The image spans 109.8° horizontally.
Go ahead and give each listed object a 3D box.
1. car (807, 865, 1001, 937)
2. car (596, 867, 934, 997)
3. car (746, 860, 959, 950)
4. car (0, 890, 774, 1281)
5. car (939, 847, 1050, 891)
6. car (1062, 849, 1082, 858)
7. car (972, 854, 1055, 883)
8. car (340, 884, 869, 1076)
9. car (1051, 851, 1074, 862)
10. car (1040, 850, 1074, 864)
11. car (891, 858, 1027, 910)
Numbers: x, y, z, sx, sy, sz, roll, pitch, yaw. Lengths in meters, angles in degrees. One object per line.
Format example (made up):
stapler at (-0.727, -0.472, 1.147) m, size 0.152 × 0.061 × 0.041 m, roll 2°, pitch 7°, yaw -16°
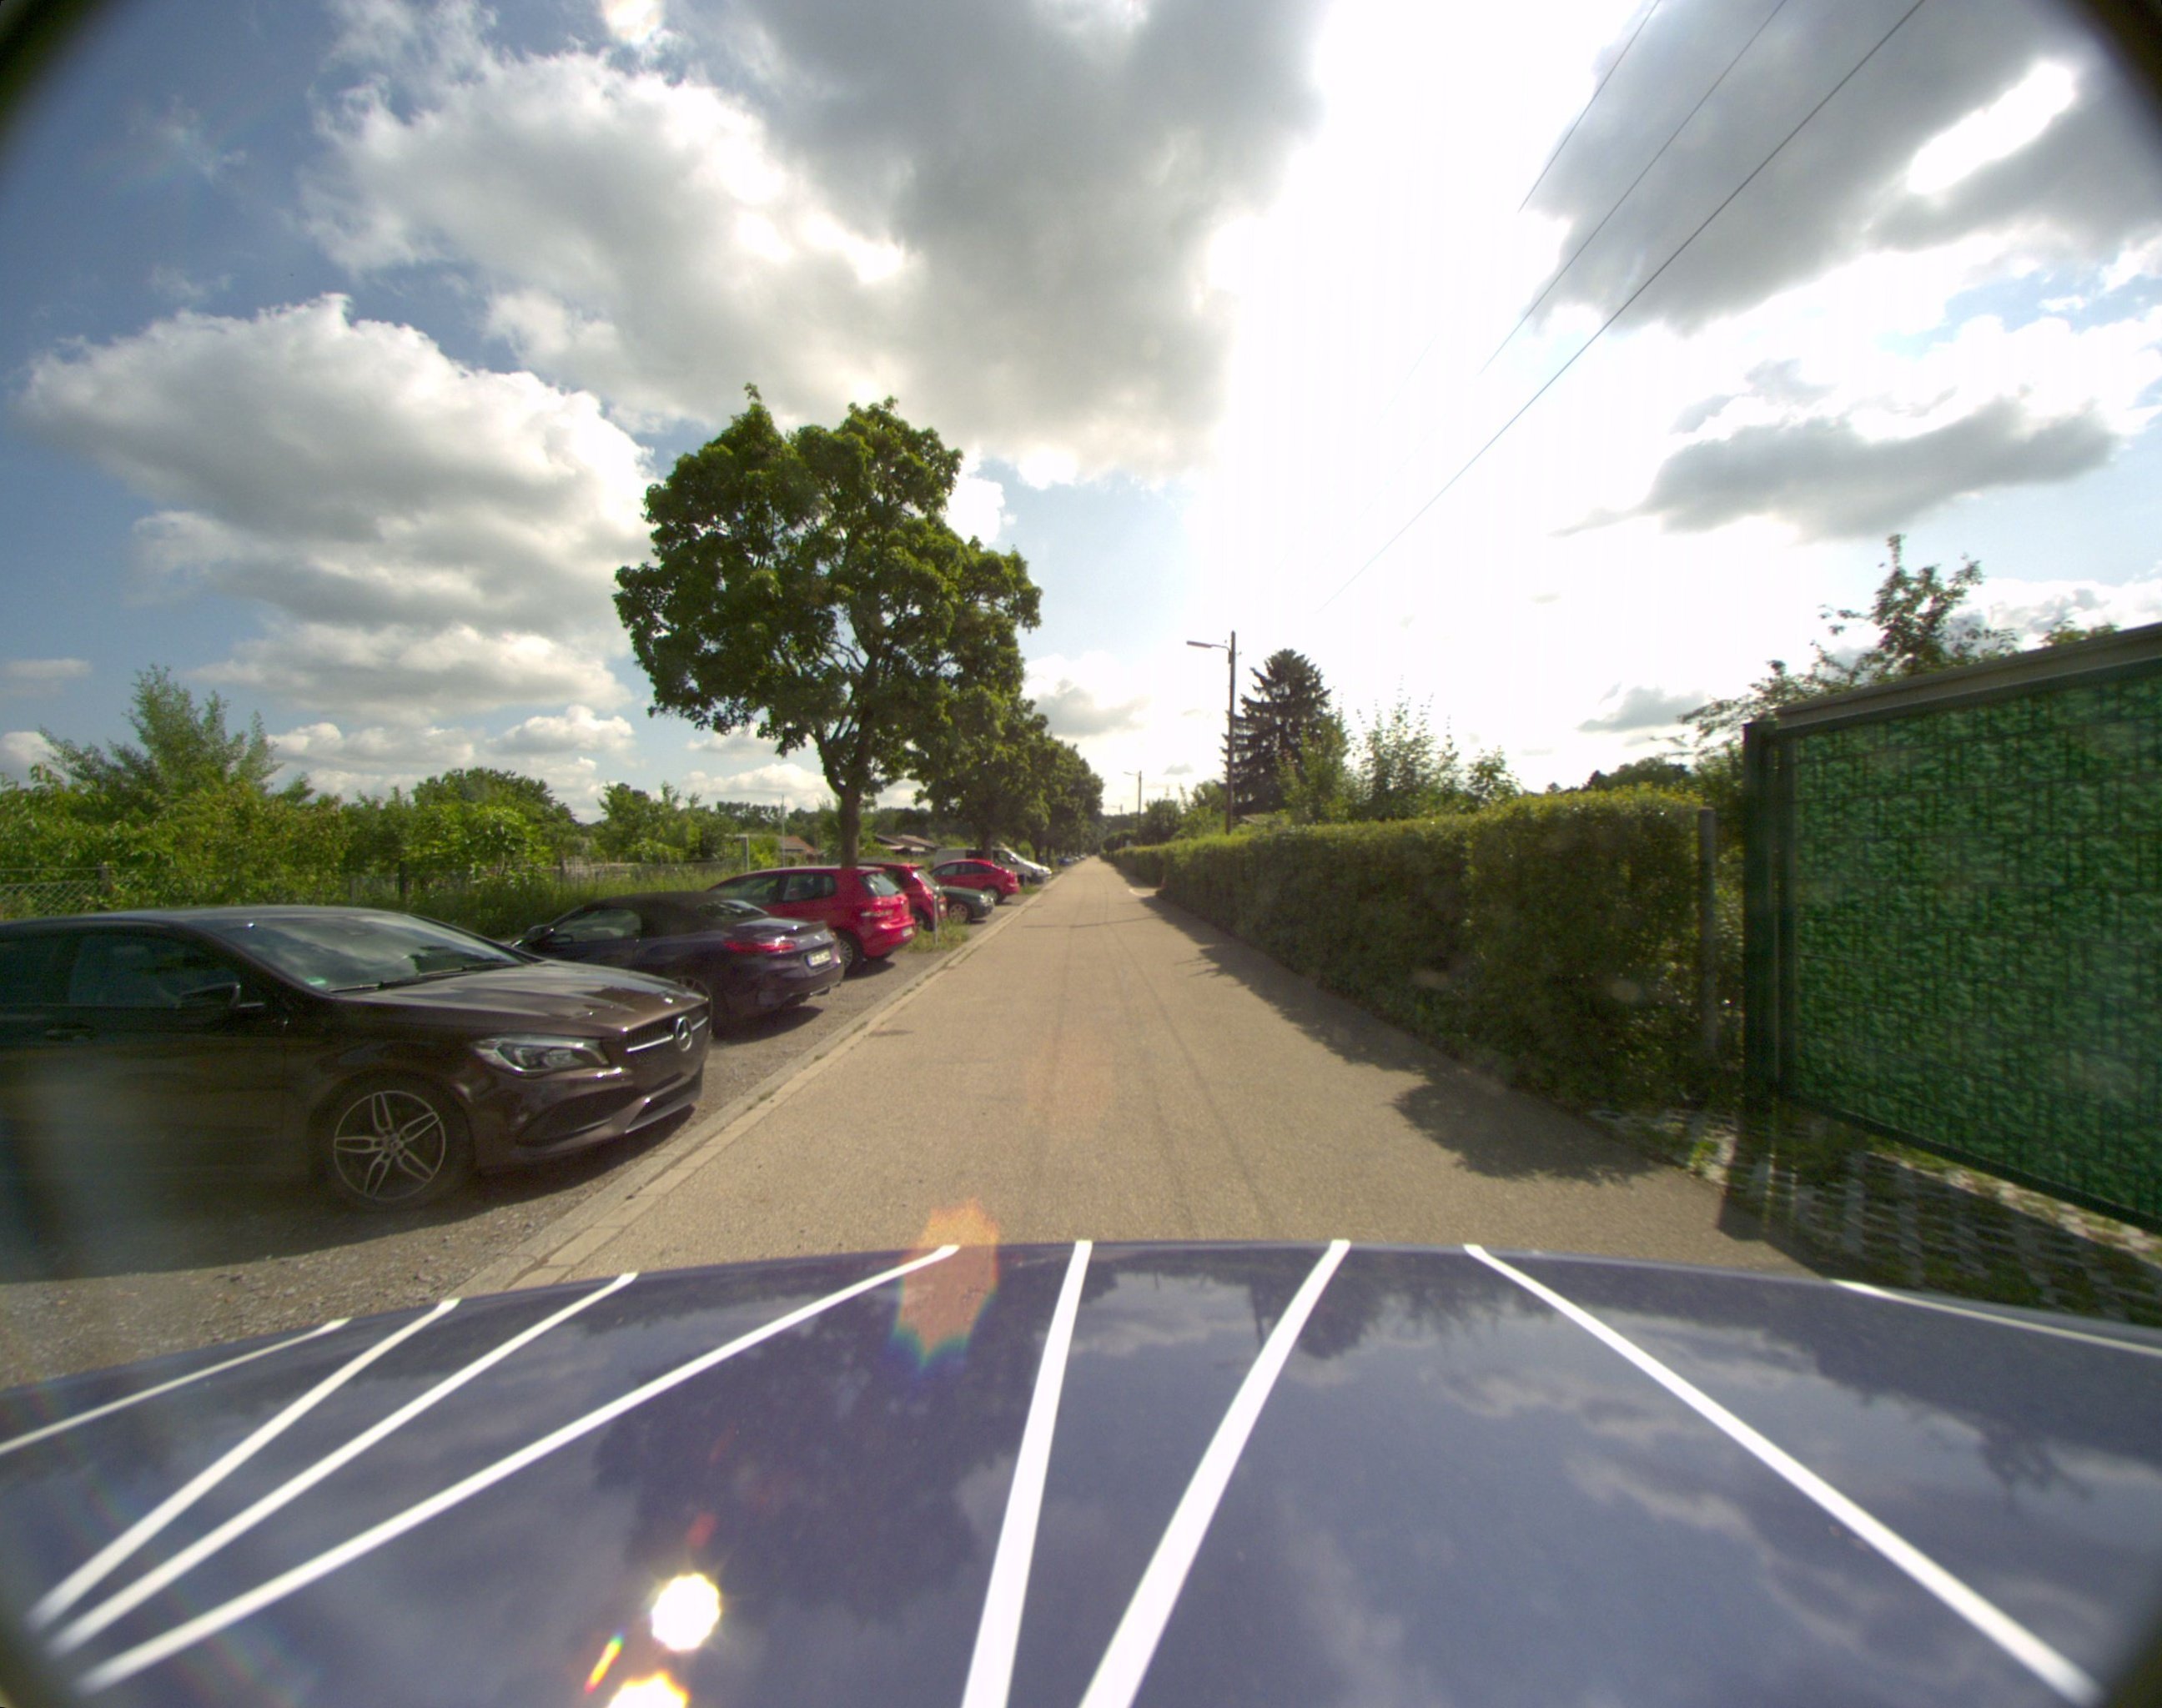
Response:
car at (-4.184, 1.106, 18.531) m, size 4.250 × 1.420 × 1.907 m, roll -3°, pitch 1°, yaw -3°
car at (-4.350, 1.049, 10.881) m, size 3.995 × 1.511 × 1.855 m, roll -2°, pitch 1°, yaw 5°
car at (-4.627, 1.016, 15.813) m, size 3.773 × 1.565 × 1.869 m, roll -2°, pitch 1°, yaw 1°
car at (-4.144, 1.068, 4.177) m, size 4.076 × 1.447 × 1.869 m, roll -3°, pitch 1°, yaw -1°
car at (-3.707, 0.622, 33.389) m, size 4.646 × 1.875 × 2.111 m, roll 0°, pitch 0°, yaw -1°
car at (-1.889, -0.078, 160.420) m, size 3.929 × 1.740 × 2.000 m, roll -2°, pitch 1°, yaw 1°
car at (-3.766, 0.796, 43.097) m, size 4.590 × 1.457 × 1.999 m, roll -1°, pitch 0°, yaw -2°
car at (-4.376, 1.132, 7.454) m, size 3.919 × 1.415 × 1.958 m, roll -2°, pitch 1°, yaw 4°
car at (-3.199, 0.439, 131.833) m, size 3.929 × 1.740 × 2.000 m, roll -2°, pitch 1°, yaw 1°
car at (-2.889, 0.318, 91.832) m, size 4.116 × 1.573 × 1.781 m, roll -1°, pitch 0°, yaw -1°
car at (-4.066, 0.982, 25.751) m, size 4.193 × 1.495 × 1.878 m, roll -2°, pitch 1°, yaw 2°
